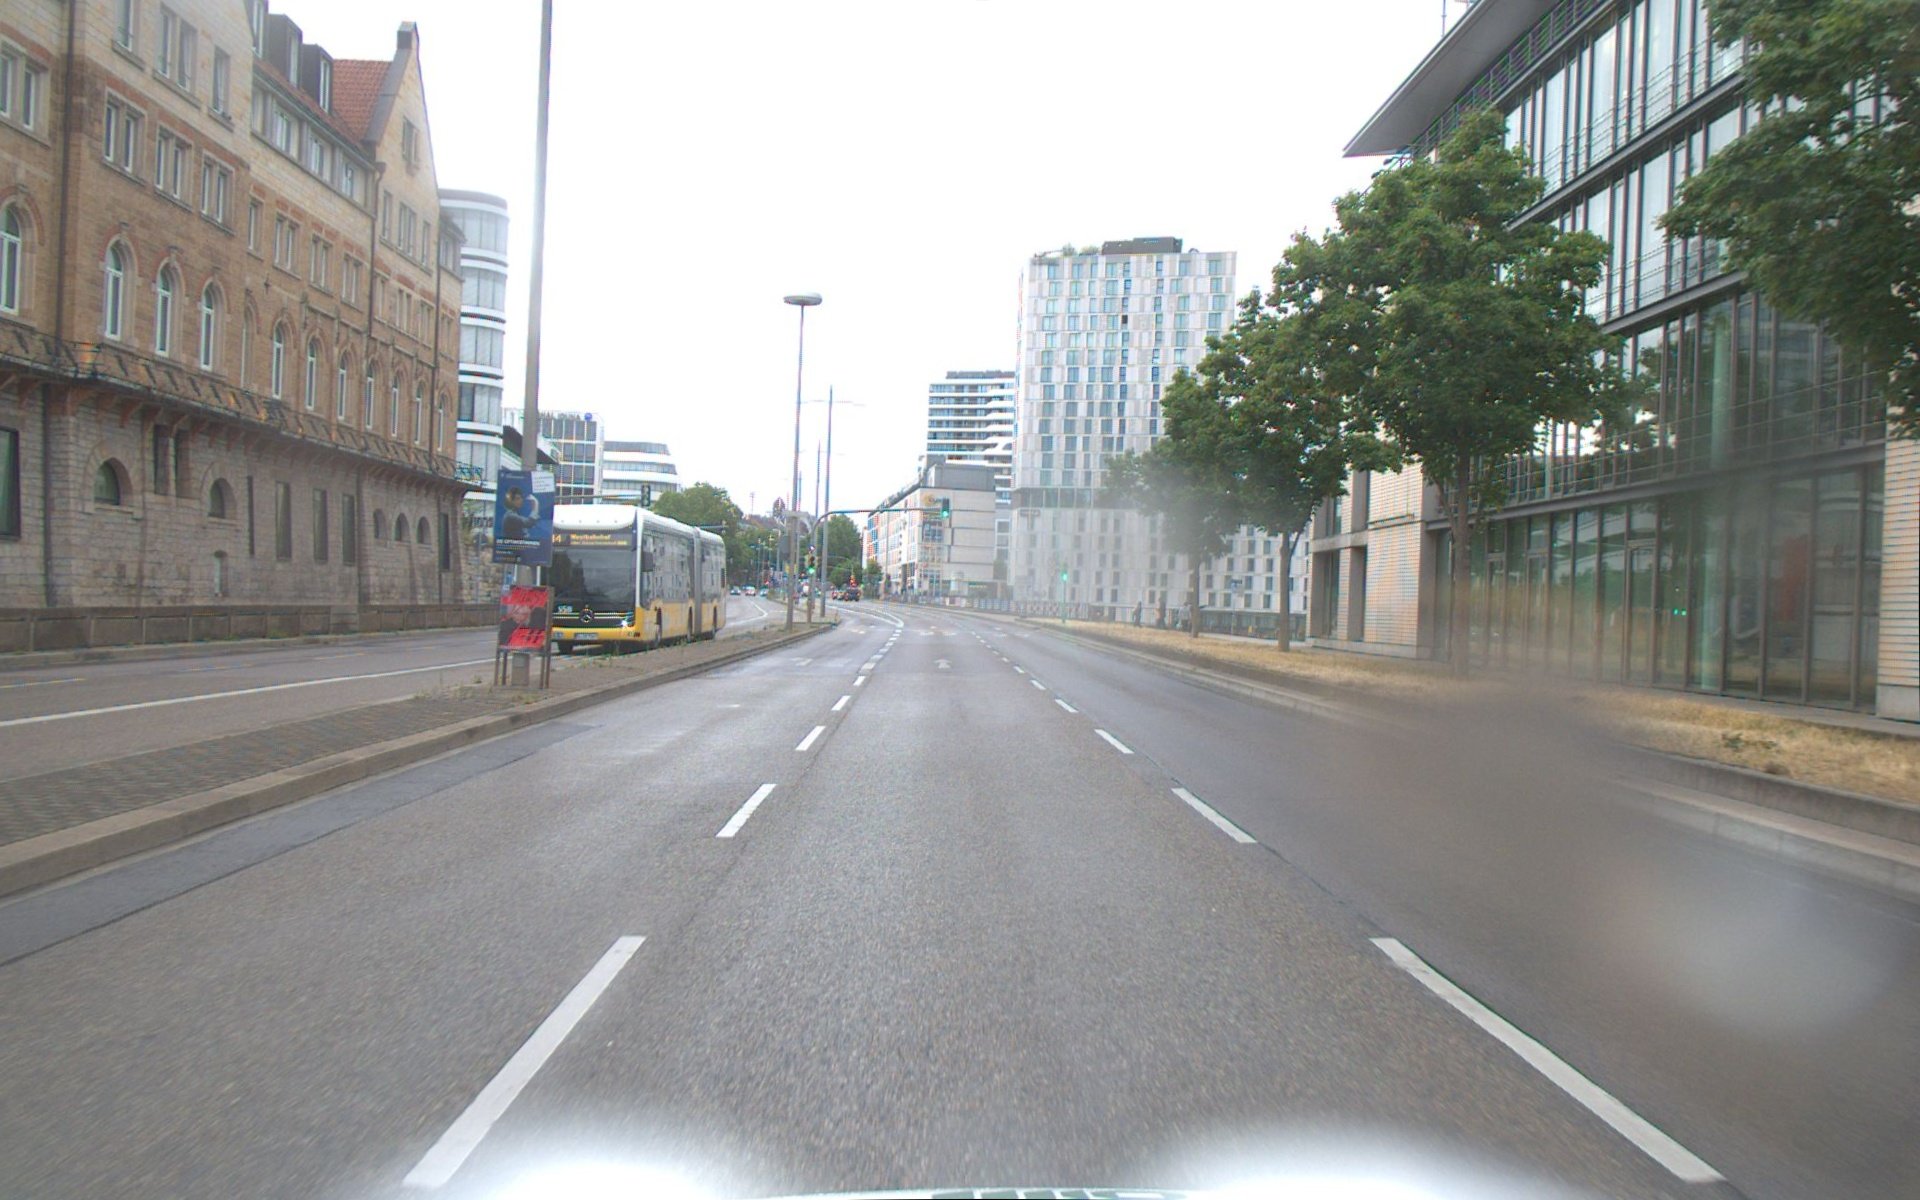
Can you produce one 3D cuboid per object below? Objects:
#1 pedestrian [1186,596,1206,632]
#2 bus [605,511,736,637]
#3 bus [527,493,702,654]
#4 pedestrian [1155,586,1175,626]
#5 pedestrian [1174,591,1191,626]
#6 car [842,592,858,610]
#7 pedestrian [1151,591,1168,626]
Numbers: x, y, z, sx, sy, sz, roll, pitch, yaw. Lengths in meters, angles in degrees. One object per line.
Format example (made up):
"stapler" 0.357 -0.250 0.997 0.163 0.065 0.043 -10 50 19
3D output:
"pedestrian" 10.956 0.645 76.810 0.657 1.605 0.666 2 2 36
"bus" -9.033 -0.818 52.740 2.644 3.621 10.091 0 1 -2
"bus" -8.613 -0.579 42.516 2.644 3.621 10.090 0 0 -2
"pedestrian" 9.702 0.272 78.358 0.542 1.873 0.777 2 2 45
"pedestrian" 10.239 0.386 76.161 0.540 1.605 0.669 1 2 33
"car" -16.586 0.153 249.034 1.955 2.383 3.998 -7 1 -2
"pedestrian" 9.416 0.385 78.031 0.540 1.605 0.669 1 2 33
